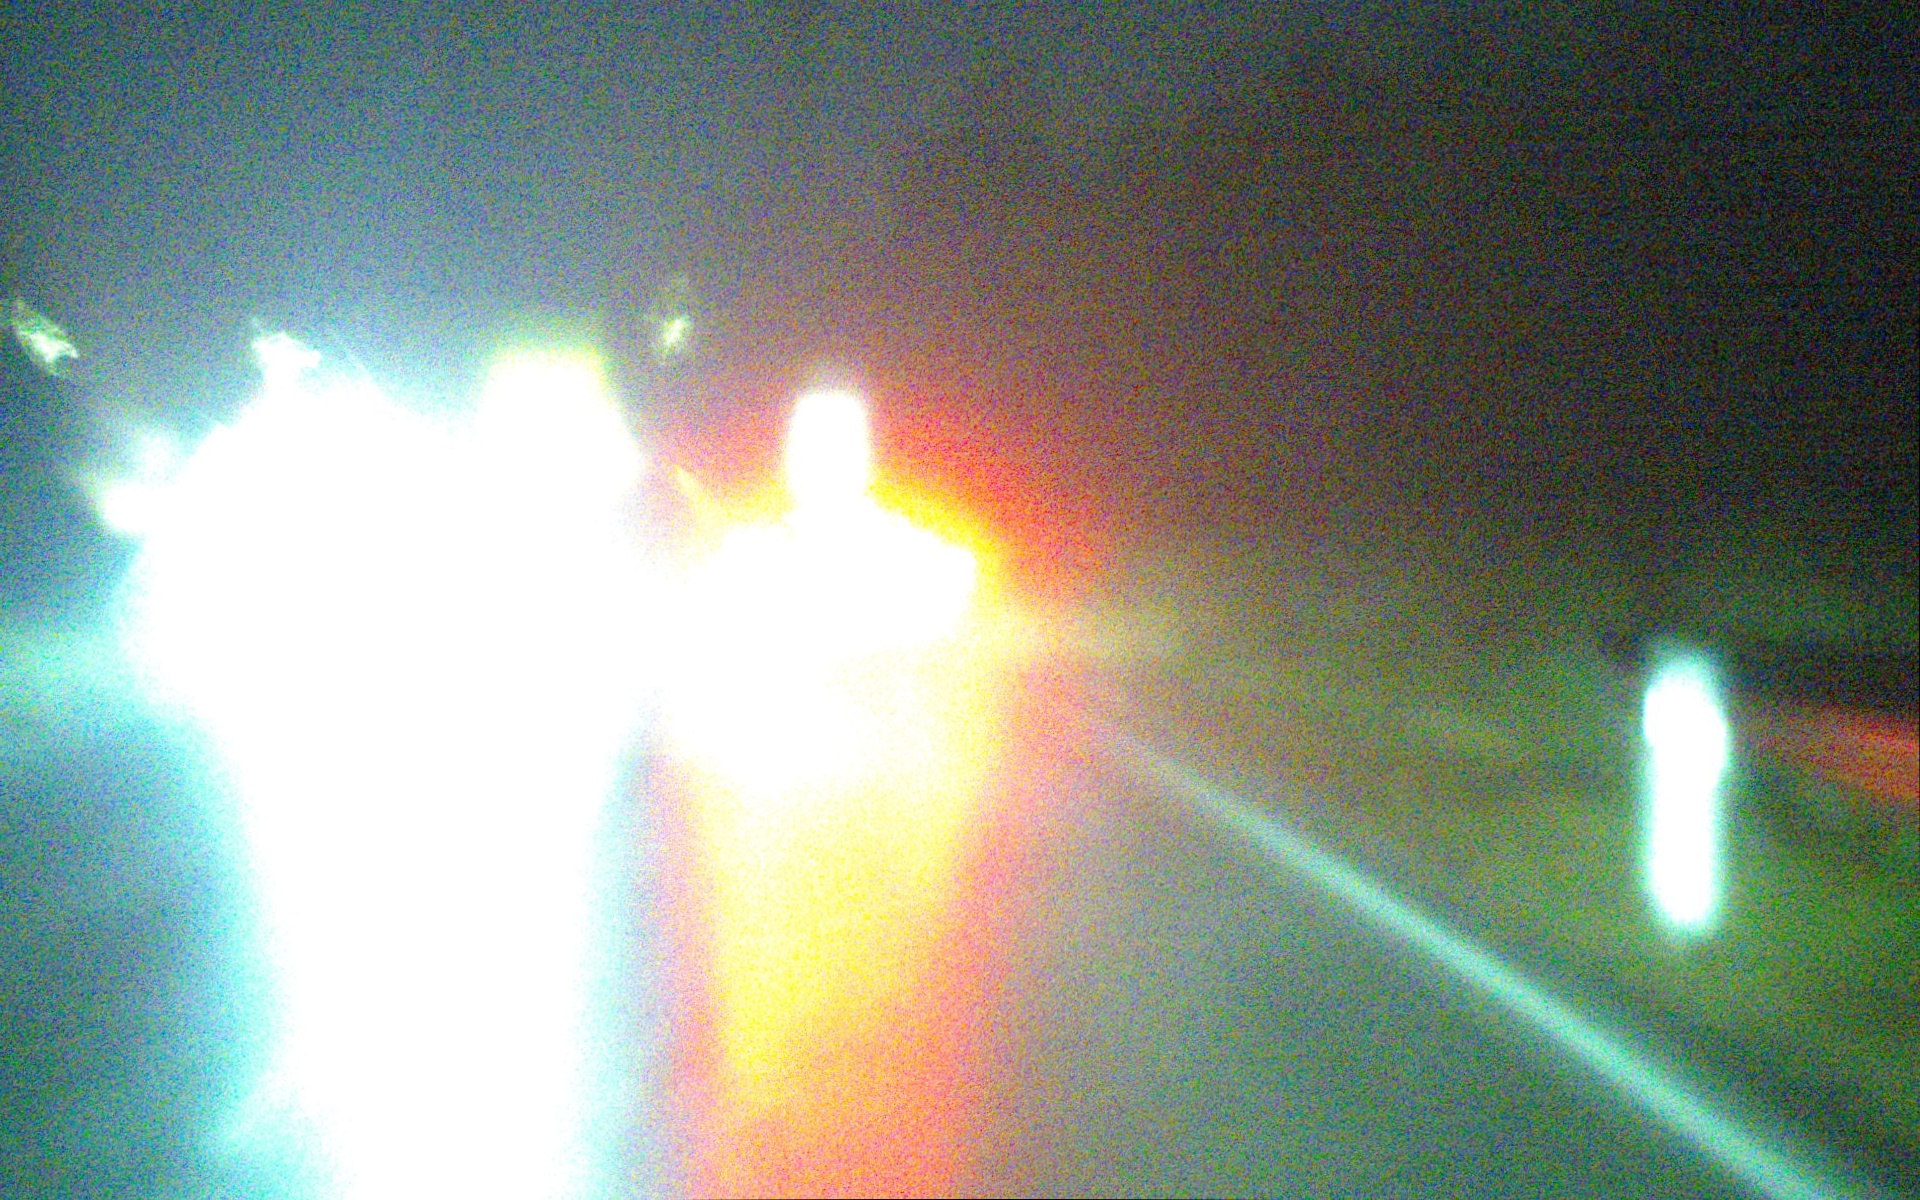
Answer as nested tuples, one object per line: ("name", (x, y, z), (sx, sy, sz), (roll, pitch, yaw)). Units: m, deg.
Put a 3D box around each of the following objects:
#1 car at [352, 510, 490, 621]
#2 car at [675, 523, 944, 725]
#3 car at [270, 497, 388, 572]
("car", (-8.428, -0.564, 53.469), (1.930, 1.579, 4.986), (-2, 2, -10))
("car", (-1.458, 0.150, 31.189), (1.993, 1.622, 4.986), (0, 2, -8))
("car", (-15.375, -1.596, 83.577), (1.993, 1.702, 4.986), (-2, 2, -20))
